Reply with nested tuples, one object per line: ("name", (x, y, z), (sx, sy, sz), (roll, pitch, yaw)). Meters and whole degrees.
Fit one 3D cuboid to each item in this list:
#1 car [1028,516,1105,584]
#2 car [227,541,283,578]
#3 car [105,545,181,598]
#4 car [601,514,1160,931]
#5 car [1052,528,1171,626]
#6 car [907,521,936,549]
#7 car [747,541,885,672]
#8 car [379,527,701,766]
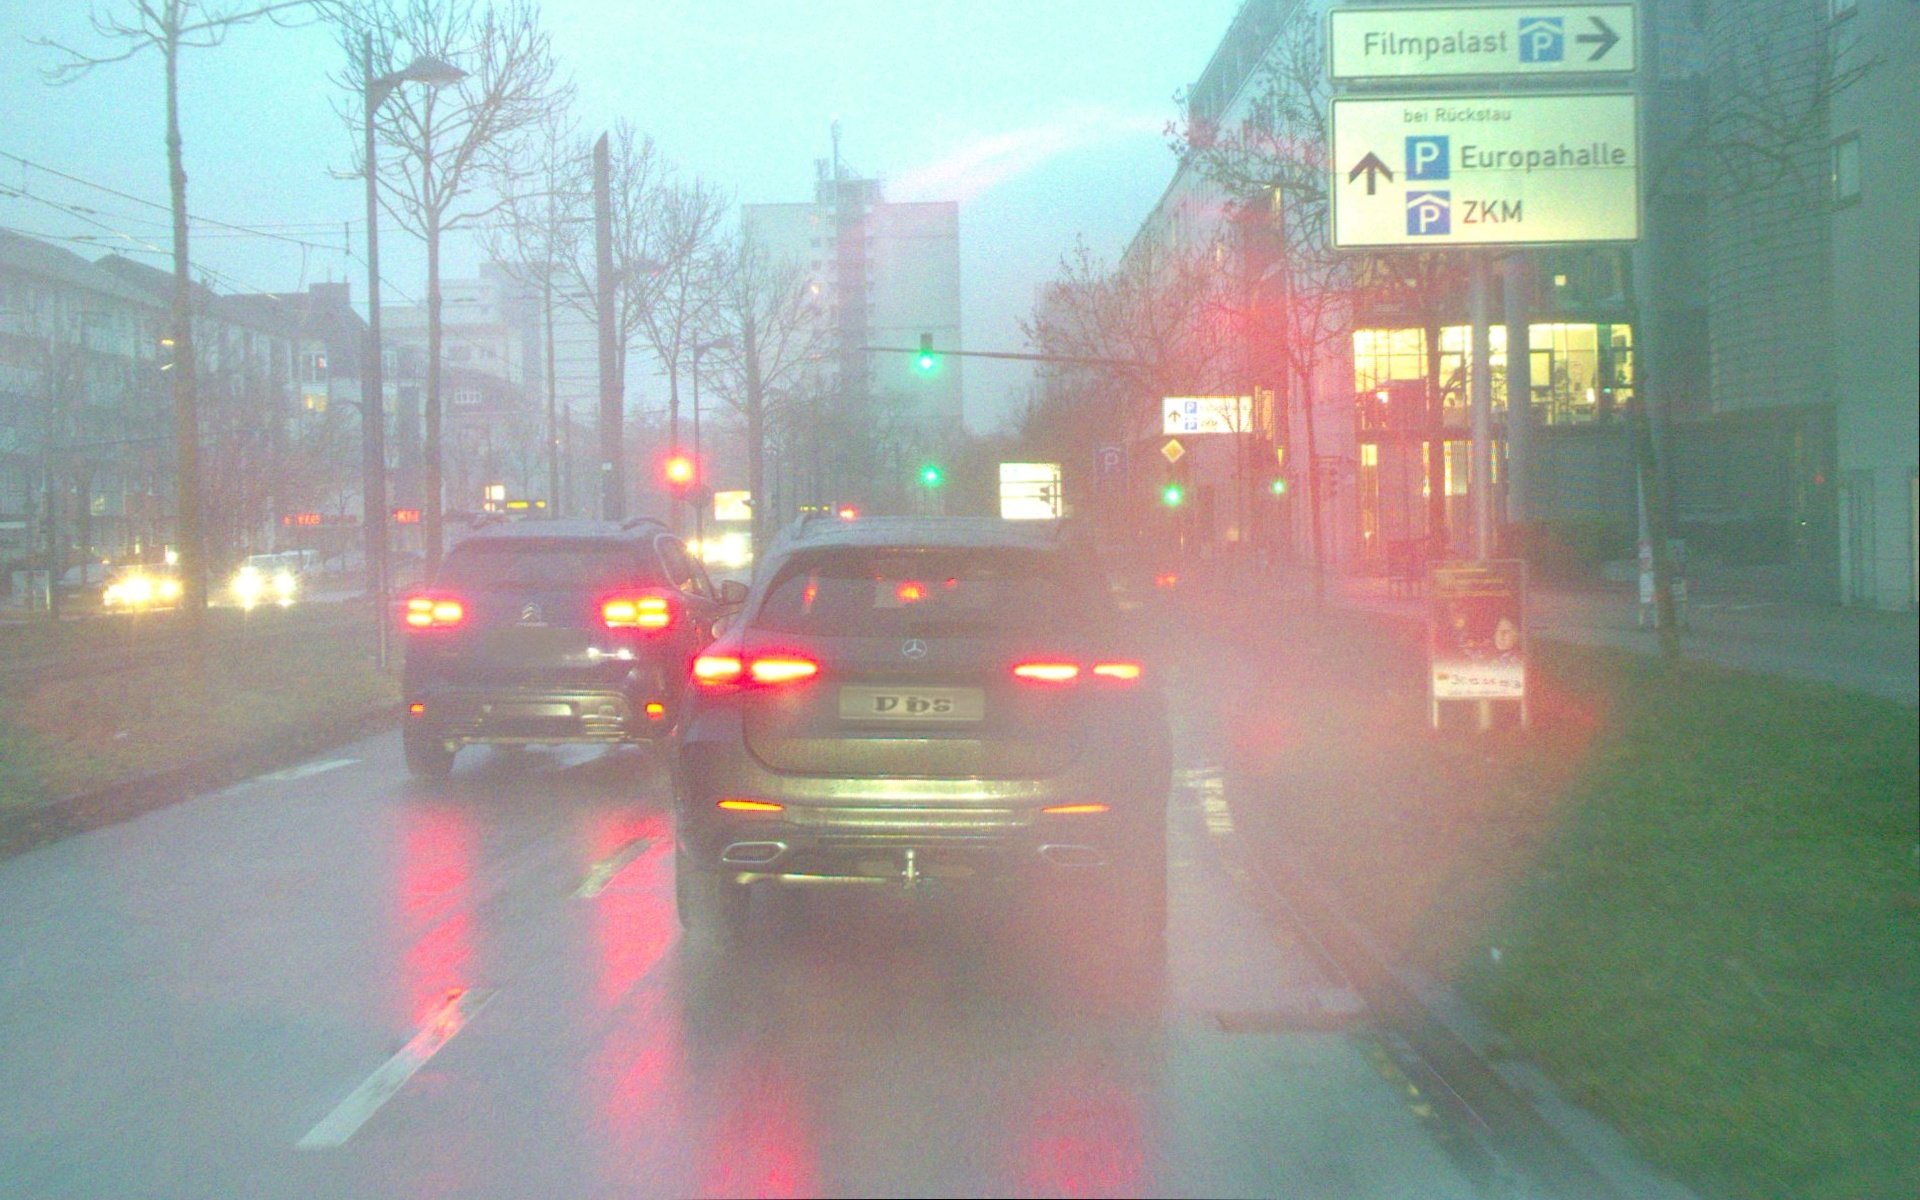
("car", (2.405, -1.147, 78.578), (1.623, 1.493, 3.526), (1, 1, 0))
("car", (-31.291, -1.805, 152.736), (1.932, 1.591, 3.728), (1, 1, -4))
("car", (-25.976, -0.930, 109.368), (1.613, 1.617, 3.509), (1, 1, 0))
("car", (-0.309, 0.414, 14.225), (1.993, 1.478, 3.700), (1, 1, -1))
("car", (2.493, -0.398, 56.624), (1.867, 1.537, 3.610), (1, 1, 2))
("car", (-2.141, -3.662, 193.556), (1.548, 1.503, 3.387), (1, 1, 0))
("car", (-1.866, 0.054, 45.329), (1.689, 1.629, 3.474), (1, 1, -1))
("car", (-2.724, 0.246, 23.083), (1.817, 1.445, 4.001), (1, 1, -2))
